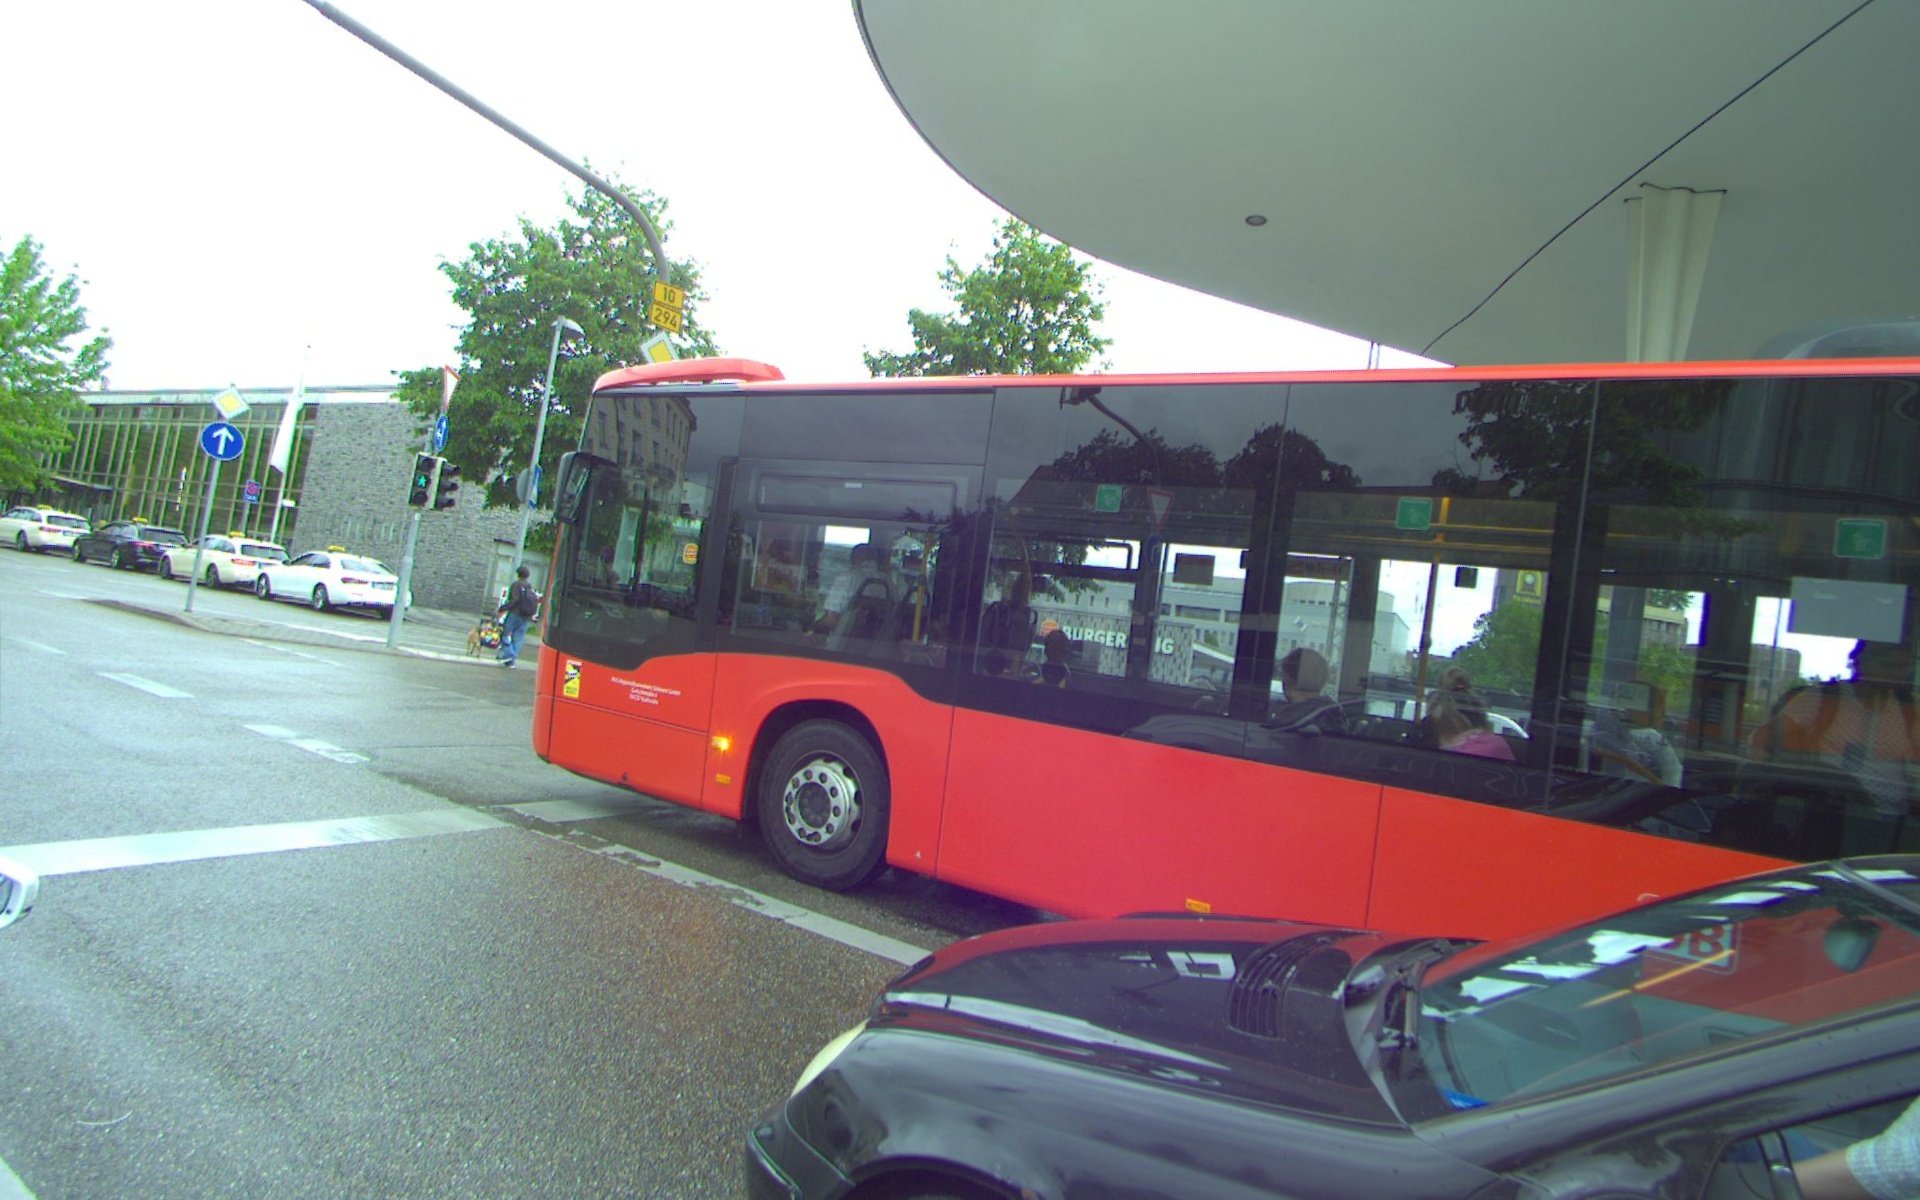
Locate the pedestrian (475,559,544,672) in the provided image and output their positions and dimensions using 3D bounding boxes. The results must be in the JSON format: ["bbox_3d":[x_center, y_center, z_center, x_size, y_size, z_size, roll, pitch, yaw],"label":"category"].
[{"bbox_3d":[-7.275,0.252,16.270,0.800,1.693,0.709,8,-1,-24],"label":"pedestrian"}]

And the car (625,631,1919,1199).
[{"bbox_3d":[1.721,1.117,1.476,4.361,1.494,1.752,6,-6,31],"label":"car"}]

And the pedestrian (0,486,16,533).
[{"bbox_3d":[-52.535,-4.972,55.085,0.848,2.439,0.844,7,-1,34],"label":"pedestrian"}]

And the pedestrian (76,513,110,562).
[{"bbox_3d":[-32.933,-2.371,38.234,0.703,1.729,0.566,7,-2,27],"label":"pedestrian"}]

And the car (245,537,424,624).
[{"bbox_3d":[-15.860,-0.508,25.459,4.538,1.608,1.779,7,-2,30],"label":"car"}]

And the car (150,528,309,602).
[{"bbox_3d":[-20.637,-1.004,28.386,4.588,1.468,1.851,7,-2,30],"label":"car"}]

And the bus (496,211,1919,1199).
[{"bbox_3d":[2.006,0.312,5.349,10.026,3.210,2.749,7,-2,32],"label":"bus"}]

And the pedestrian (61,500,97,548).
[{"bbox_3d":[-39.926,-3.445,45.597,0.814,2.037,0.771,7,-1,30],"label":"pedestrian"}]

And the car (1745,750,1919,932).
[{"bbox_3d":[11.226,2.798,10.568,4.360,1.666,1.806,7,-4,32],"label":"car"}]

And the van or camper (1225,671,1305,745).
[{"bbox_3d":[12.533,4.406,41.016,2.072,2.491,5.975,7,-3,25],"label":"van or camper"}]

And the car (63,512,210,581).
[{"bbox_3d":[-25.845,-1.699,31.527,4.661,1.542,1.918,7,-2,30],"label":"car"}]

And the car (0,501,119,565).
[{"bbox_3d":[-31.443,-2.352,34.538,4.736,1.618,2.000,7,-2,25],"label":"car"}]

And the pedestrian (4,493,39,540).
[{"bbox_3d":[-43.426,-3.864,46.560,0.814,2.037,0.771,7,-1,30],"label":"pedestrian"}]

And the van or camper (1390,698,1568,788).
[{"bbox_3d":[20.332,5.542,39.548,5.873,2.491,2.108,7,-2,32],"label":"van or camper"}]

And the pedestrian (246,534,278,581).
[{"bbox_3d":[-26.468,-1.622,38.138,0.703,1.665,0.565,7,-1,27],"label":"pedestrian"}]
